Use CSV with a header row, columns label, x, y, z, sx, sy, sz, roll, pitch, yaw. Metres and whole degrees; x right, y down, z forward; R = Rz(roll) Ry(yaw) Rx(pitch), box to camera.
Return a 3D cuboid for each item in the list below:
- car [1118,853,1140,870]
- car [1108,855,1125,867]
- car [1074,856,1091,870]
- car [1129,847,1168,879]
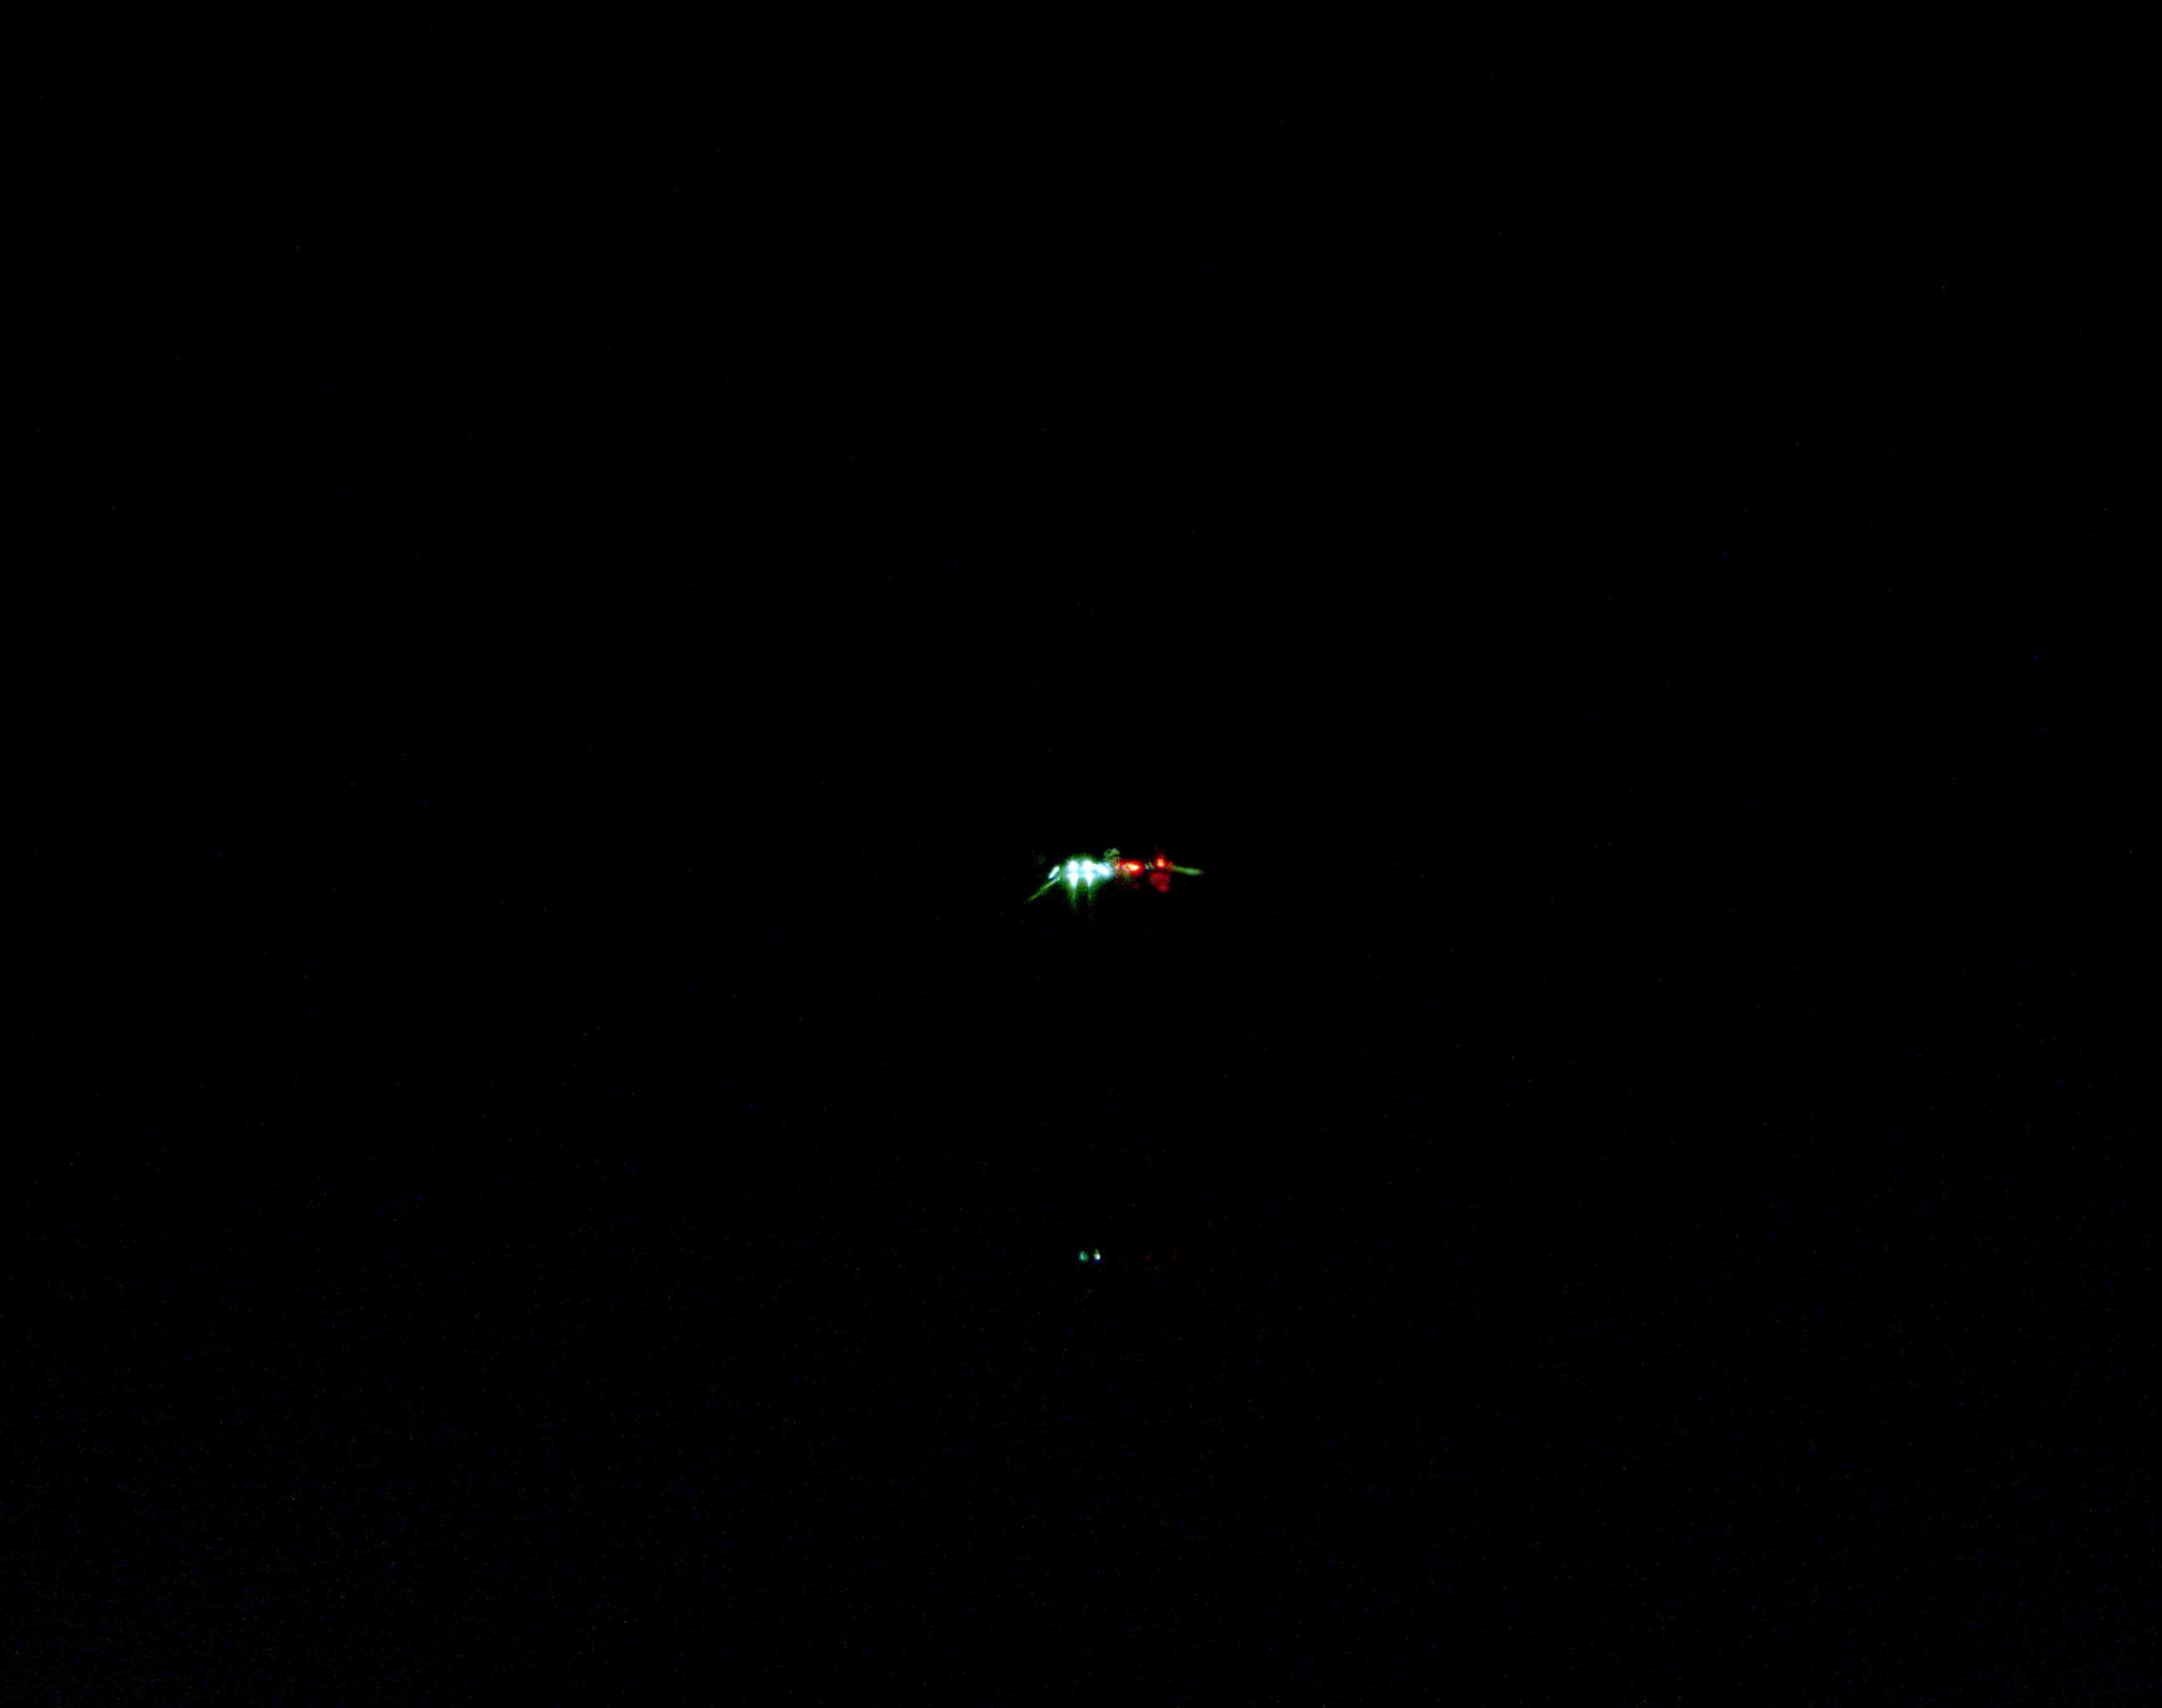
label,x,y,z,sx,sy,sz,roll,pitch,yaw
car,4.538,0.697,72.143,1.848,1.471,4.249,-3,0,2
car,4.662,0.889,100.477,1.998,1.466,3.924,-3,0,1
car,0.192,0.974,84.931,1.807,1.452,4.276,-3,0,1
car,4.114,0.543,46.627,1.998,1.782,4.246,-3,0,1
